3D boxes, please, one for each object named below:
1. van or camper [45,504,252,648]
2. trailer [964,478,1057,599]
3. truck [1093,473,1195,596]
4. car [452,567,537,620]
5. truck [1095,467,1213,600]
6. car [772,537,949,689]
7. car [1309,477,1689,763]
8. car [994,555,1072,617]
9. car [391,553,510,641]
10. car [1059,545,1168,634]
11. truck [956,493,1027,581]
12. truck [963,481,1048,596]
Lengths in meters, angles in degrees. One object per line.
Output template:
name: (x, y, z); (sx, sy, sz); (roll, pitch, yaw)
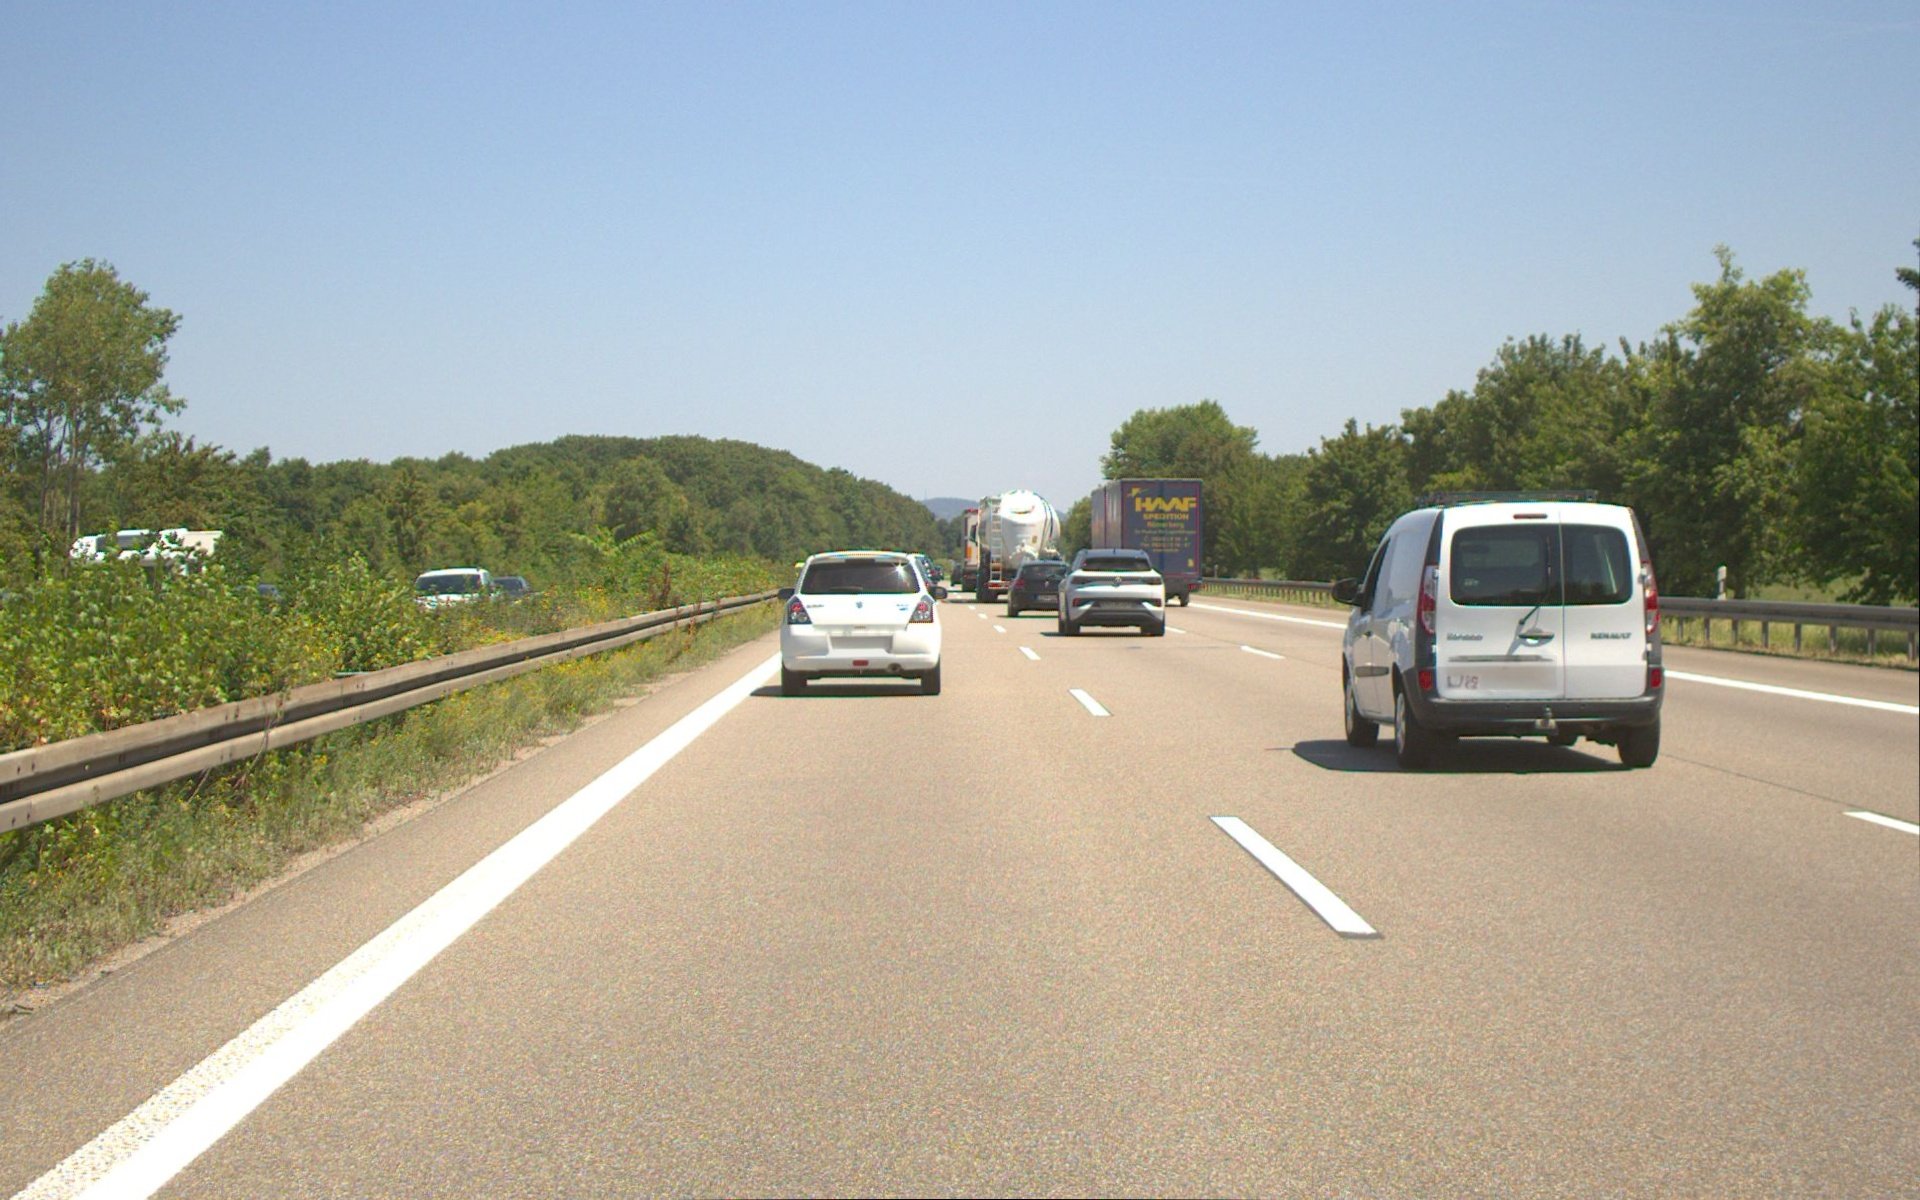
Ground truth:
van or camper: (-18.178, -0.557, 77.495); (2.850, 2.959, 7.447); (-3, 1, -1)
trailer: (1.696, -2.156, 121.876); (2.911, 4.055, 12.419); (1, 1, -1)
truck: (6.369, -2.273, 120.079); (3.109, 4.124, 8.056); (1, 1, 0)
car: (-14.003, -0.209, 103.695); (1.957, 1.463, 4.752); (-3, 1, -1)
truck: (6.337, -2.168, 114.694); (3.109, 4.124, 15.511); (1, 1, 0)
car: (-1.062, 0.113, 37.184); (1.799, 1.546, 3.610); (1, 1, -1)
car: (3.773, 0.104, 24.884); (1.853, 1.856, 4.703); (1, 1, -2)
car: (1.826, -0.377, 86.961); (1.850, 1.518, 3.957); (1, 1, -1)
car: (-10.557, -0.084, 71.553); (1.734, 1.609, 4.591); (-6, 1, -1)
car: (2.842, -0.224, 64.525); (1.802, 1.597, 4.381); (1, 1, -1)
truck: (1.559, -3.113, 171.369); (3.394, 4.199, 12.083); (1, 1, 0)
truck: (1.641, -2.246, 126.409); (2.912, 4.065, 7.195); (1, 1, -1)
